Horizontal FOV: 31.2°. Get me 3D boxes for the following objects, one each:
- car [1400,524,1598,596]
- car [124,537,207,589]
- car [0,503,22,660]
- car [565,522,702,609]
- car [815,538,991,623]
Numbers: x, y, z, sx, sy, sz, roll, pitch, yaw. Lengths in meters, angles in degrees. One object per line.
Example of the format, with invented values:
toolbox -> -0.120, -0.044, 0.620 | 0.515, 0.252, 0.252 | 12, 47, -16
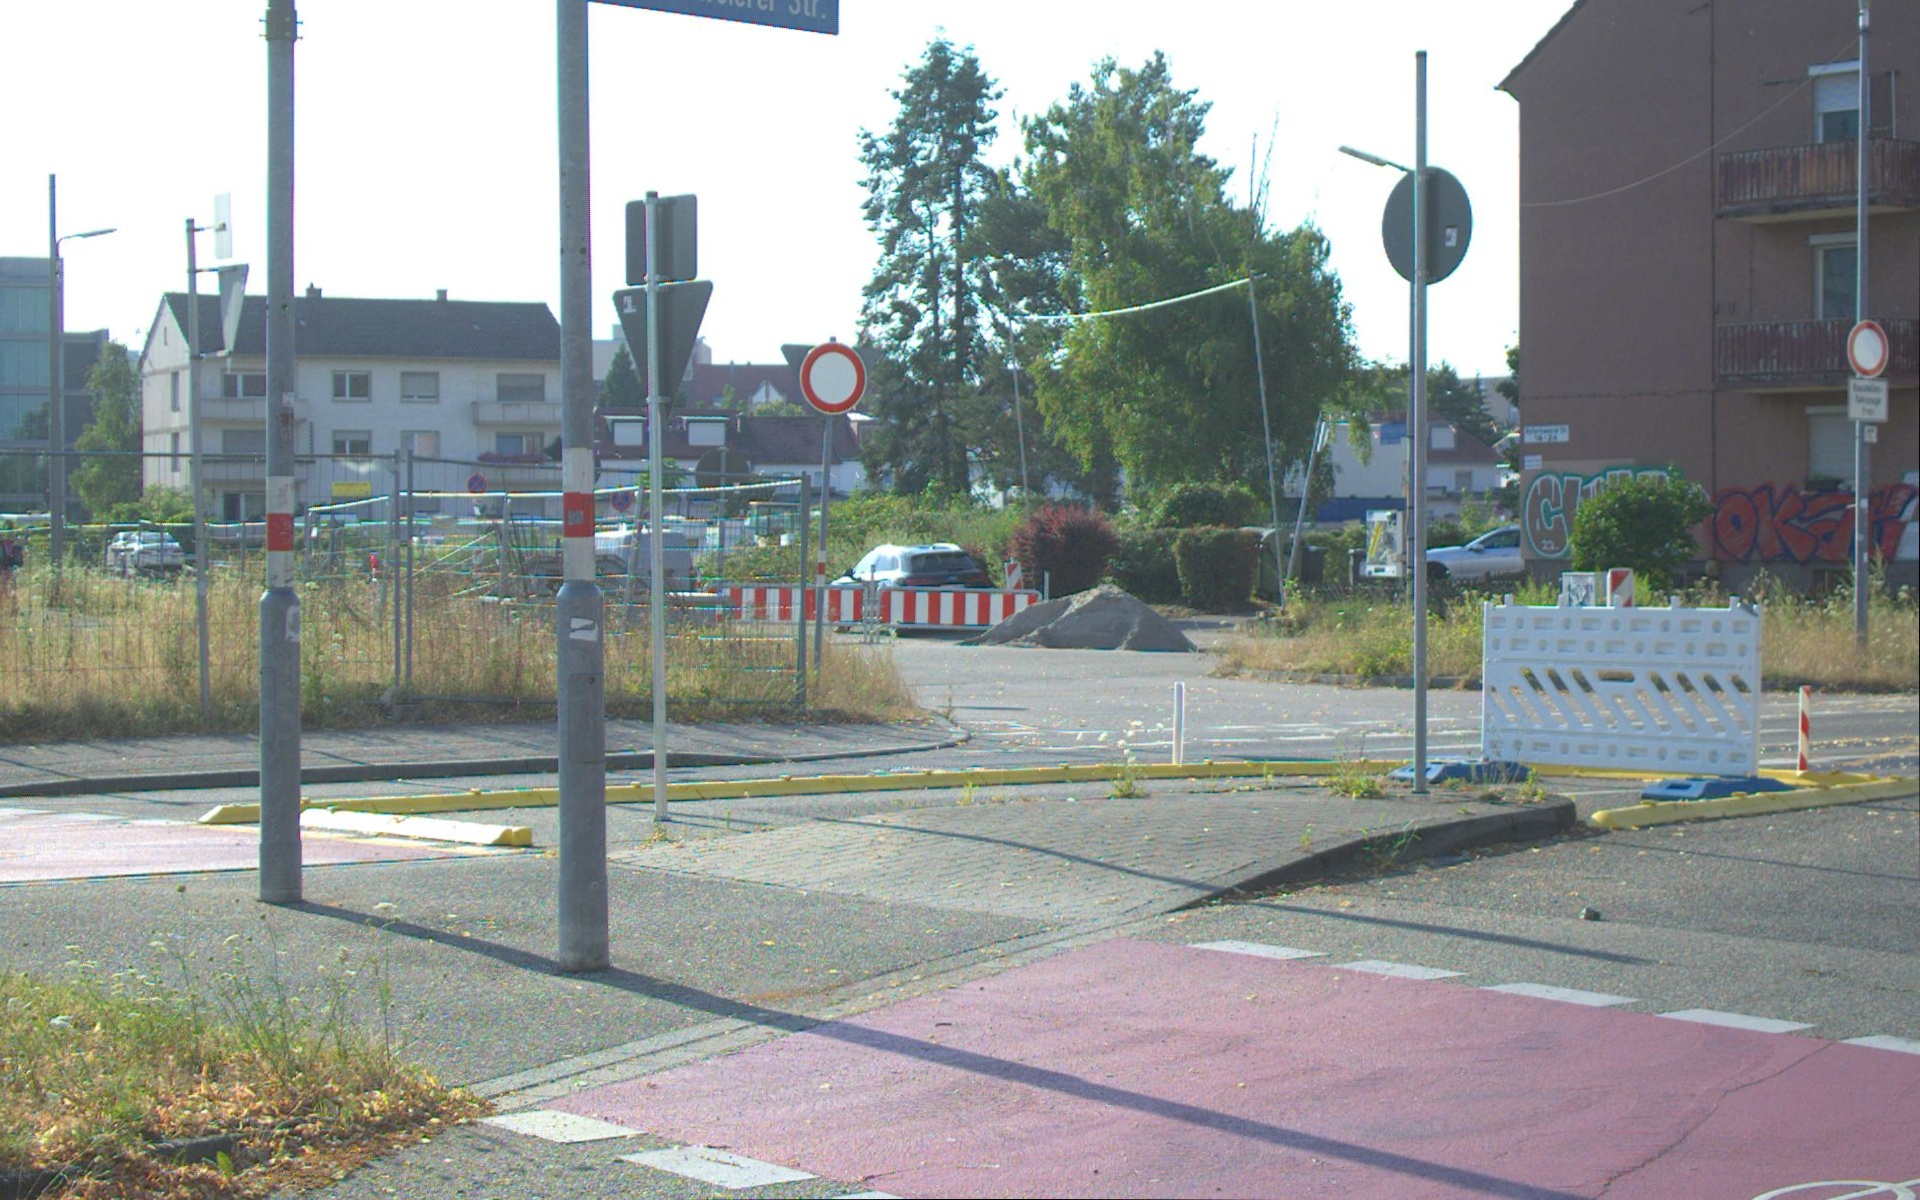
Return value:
car -> 11.627, -0.882, 74.119 | 3.990, 1.525, 1.999 | 0, 1, 16
car -> -29.097, -1.364, 125.823 | 2.145, 1.831, 4.363 | 0, 1, -24
car -> -13.117, -0.219, 42.955 | 1.993, 2.007, 5.314 | 0, 1, -7
car -> -7.587, -0.821, 79.552 | 1.862, 1.941, 4.001 | 0, 1, -26
car -> -1.106, -0.397, 64.668 | 1.993, 1.546, 4.001 | 0, 1, -22
